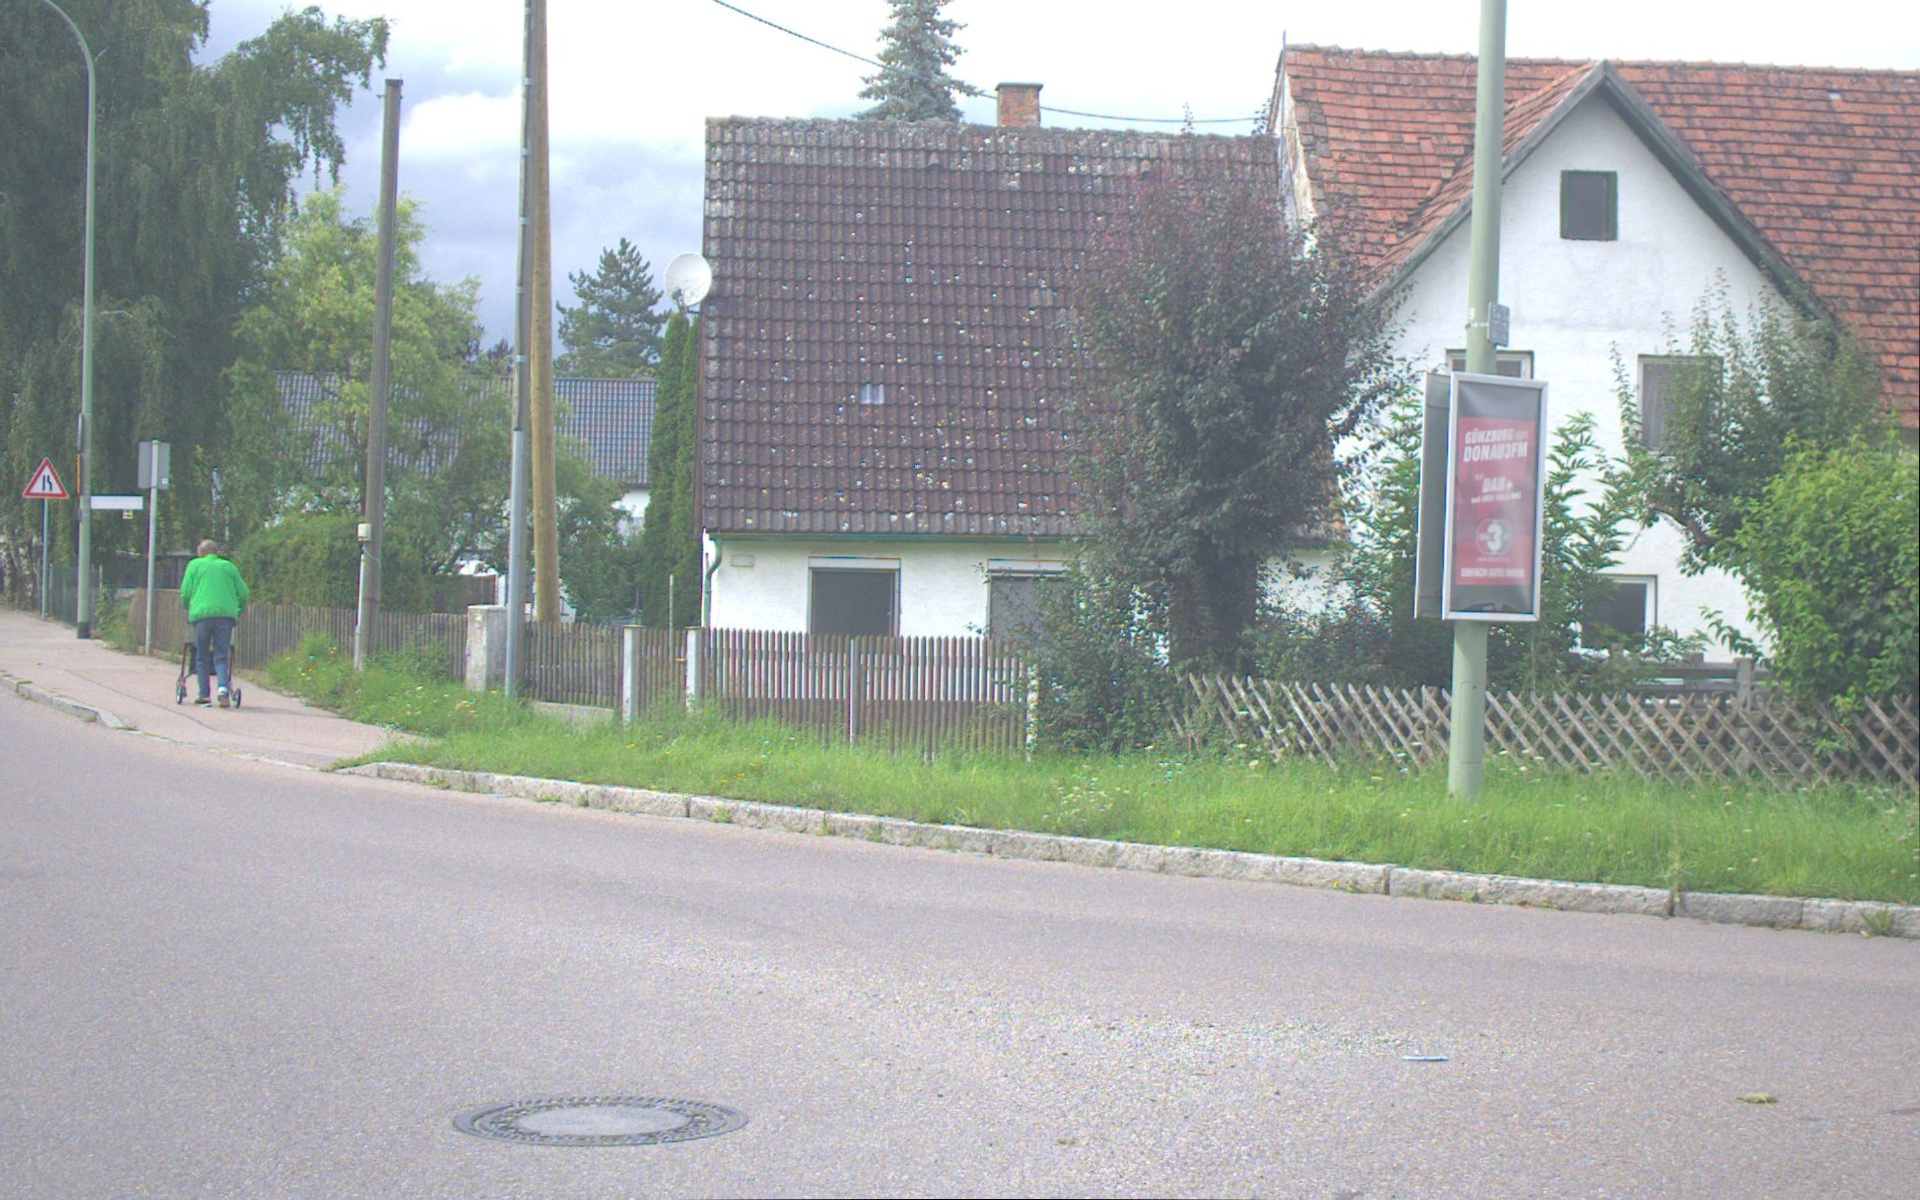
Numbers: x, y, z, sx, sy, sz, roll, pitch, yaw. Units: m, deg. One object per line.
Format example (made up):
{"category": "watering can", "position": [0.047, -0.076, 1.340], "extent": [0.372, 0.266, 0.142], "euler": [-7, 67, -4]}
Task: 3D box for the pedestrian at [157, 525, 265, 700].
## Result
{"category": "pedestrian", "position": [-7.470, 0.120, 34.281], "extent": [0.788, 1.659, 0.712], "euler": [5, -1, -23]}
